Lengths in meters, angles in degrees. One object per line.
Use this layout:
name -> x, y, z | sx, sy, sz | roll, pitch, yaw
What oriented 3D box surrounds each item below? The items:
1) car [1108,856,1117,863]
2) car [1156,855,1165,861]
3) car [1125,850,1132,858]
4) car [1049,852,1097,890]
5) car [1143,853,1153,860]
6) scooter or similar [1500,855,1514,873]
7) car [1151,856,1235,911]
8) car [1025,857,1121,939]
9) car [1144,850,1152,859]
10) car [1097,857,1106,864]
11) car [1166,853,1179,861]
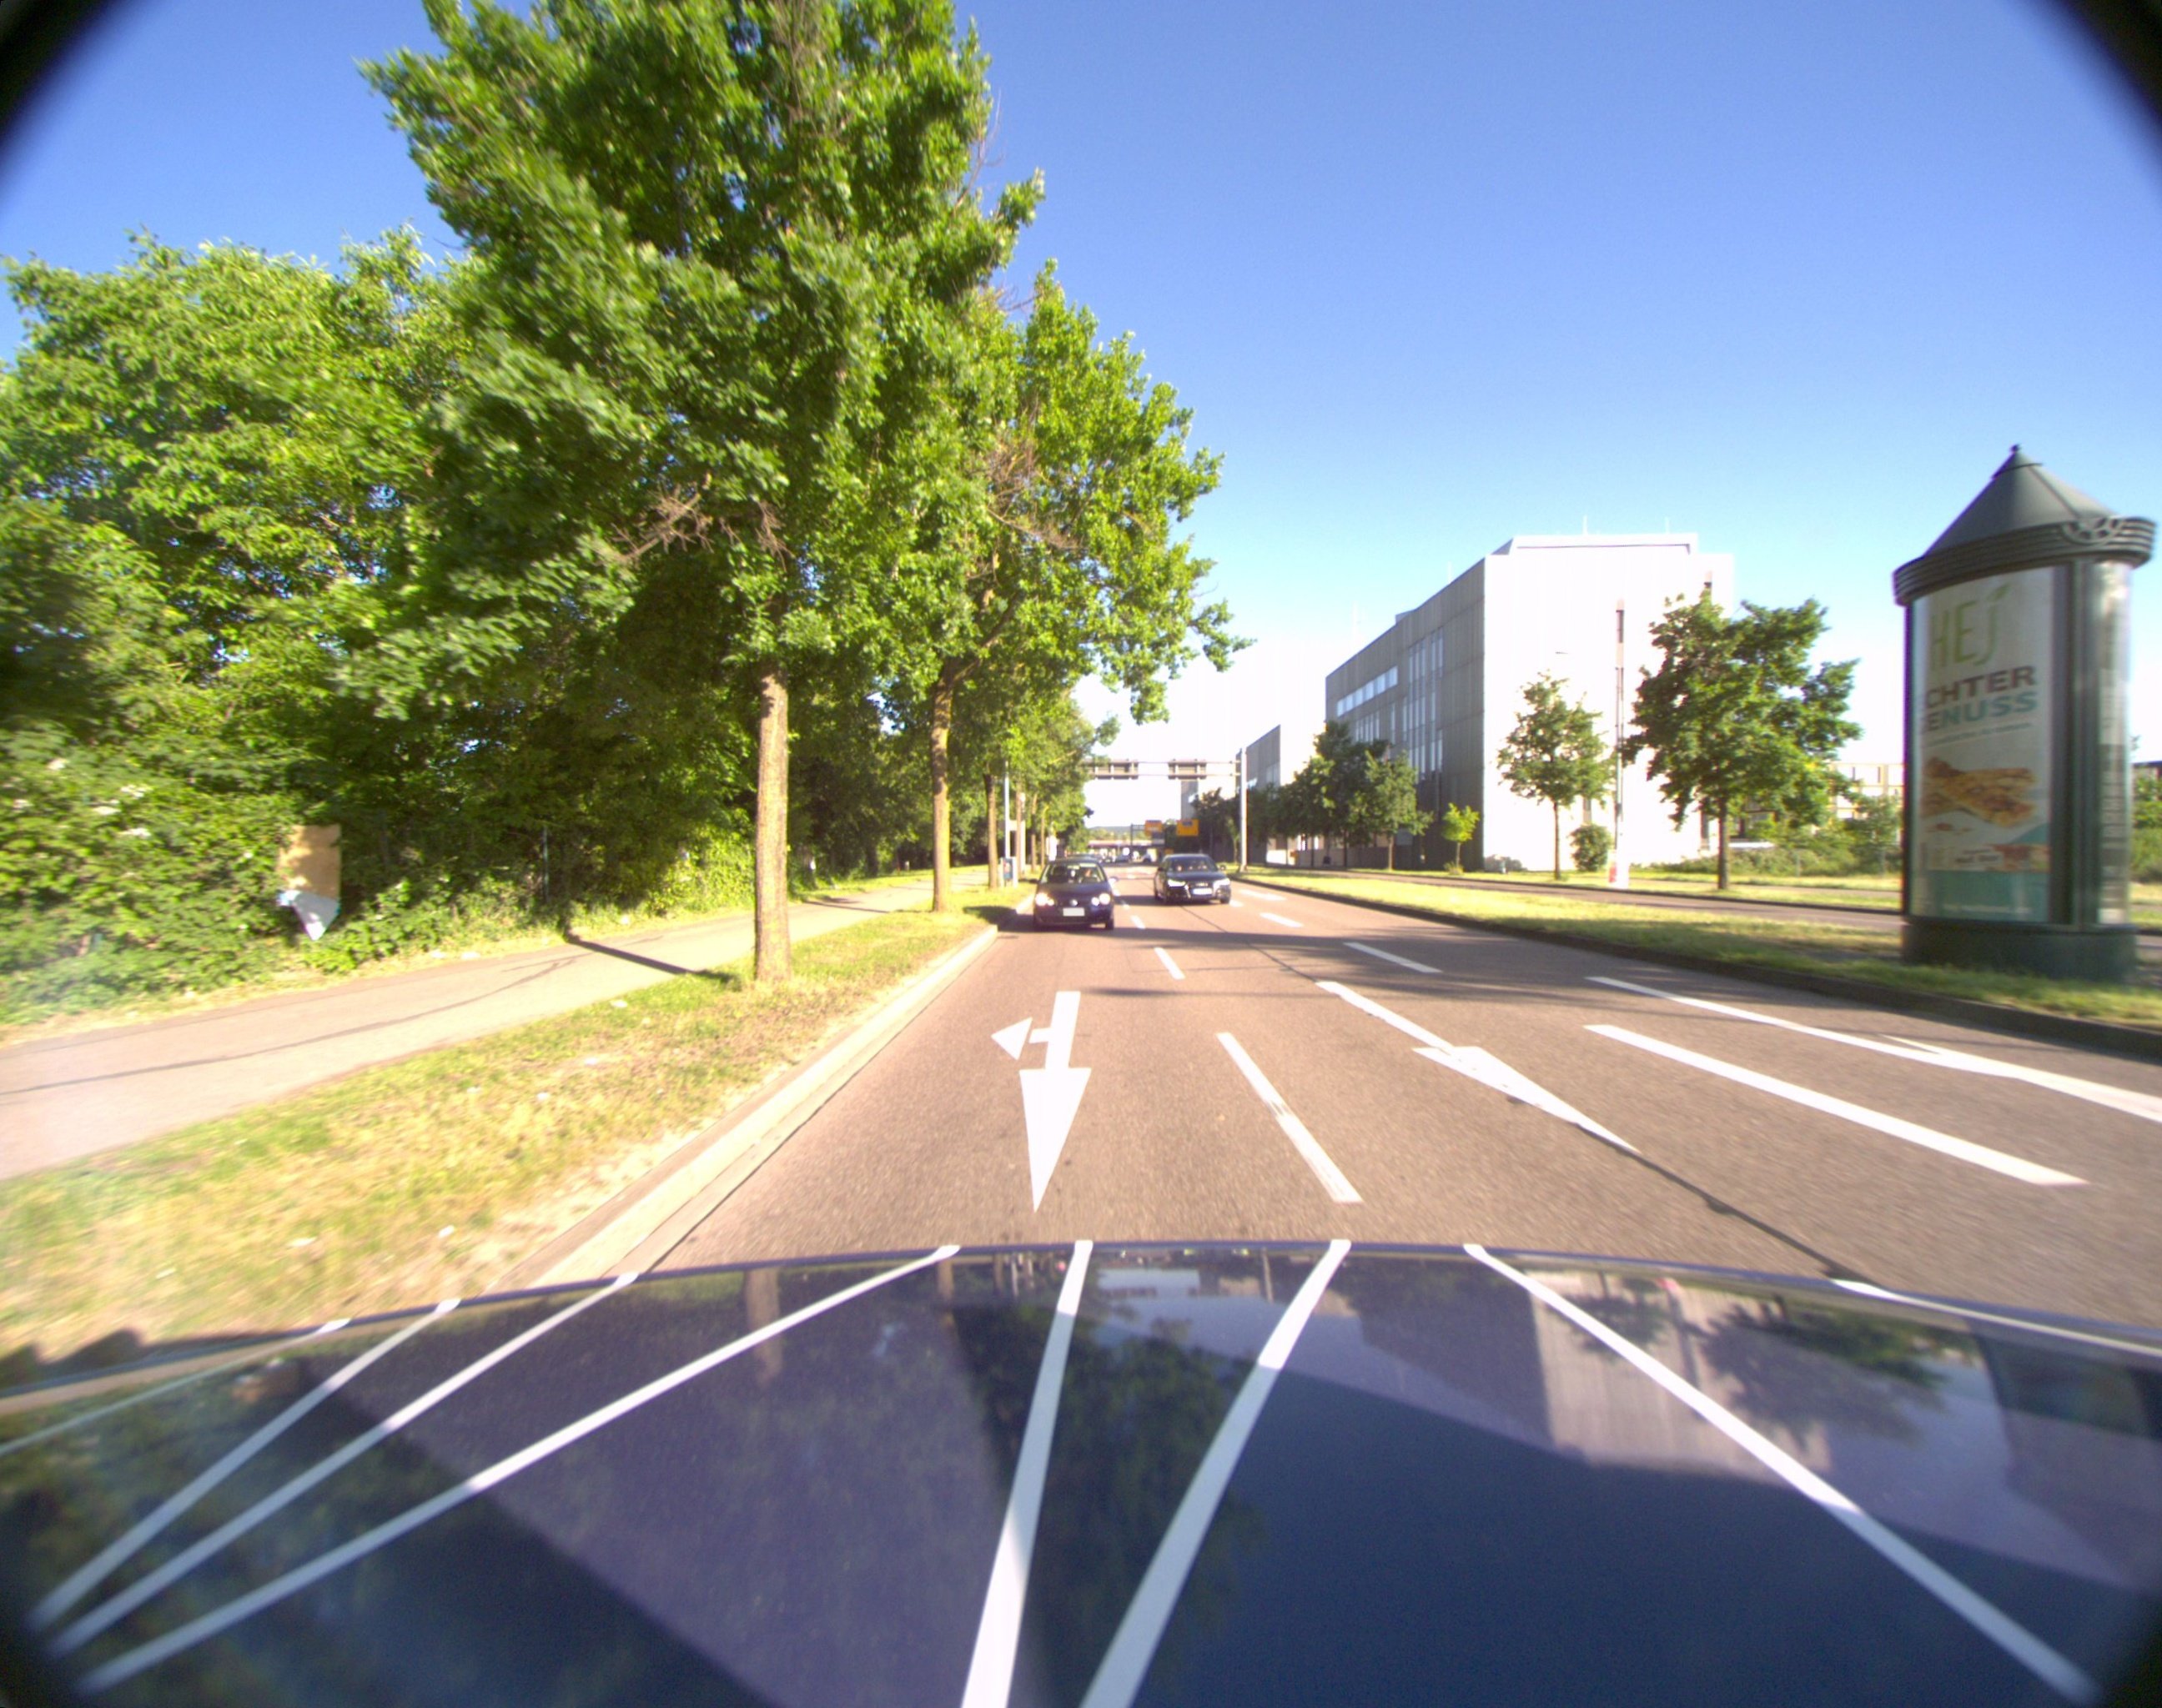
car -> 7.997, 1.467, 191.323 | 1.998, 1.678, 4.001 | 0, 0, 5
car -> 21.938, 1.124, 209.814 | 1.998, 1.582, 4.000 | 0, 0, 1
car -> 15.913, 0.034, 253.087 | 1.998, 2.468, 4.571 | 0, 1, 1
car -> -0.315, 0.717, 34.439 | 1.756, 1.446, 4.000 | -3, 1, 5
car -> 15.077, 0.594, 172.045 | 1.998, 1.569, 4.000 | 0, 0, 1
scooter or similar -> 27.088, 0.635, 48.315 | 0.453, 1.104, 1.407 | 0, 1, 14
car -> 3.276, 0.801, 23.127 | 1.797, 1.435, 5.016 | -1, 0, 0
car -> -0.044, 0.860, 16.901 | 1.636, 1.459, 4.547 | -2, 1, 5
car -> 18.275, 0.133, 206.860 | 1.998, 2.172, 4.000 | 0, 1, 1
car -> 5.221, 1.522, 189.906 | 1.998, 1.678, 4.001 | 0, 0, 5
car -> 18.376, 0.639, 152.780 | 1.998, 1.569, 4.000 | 0, 0, 1
